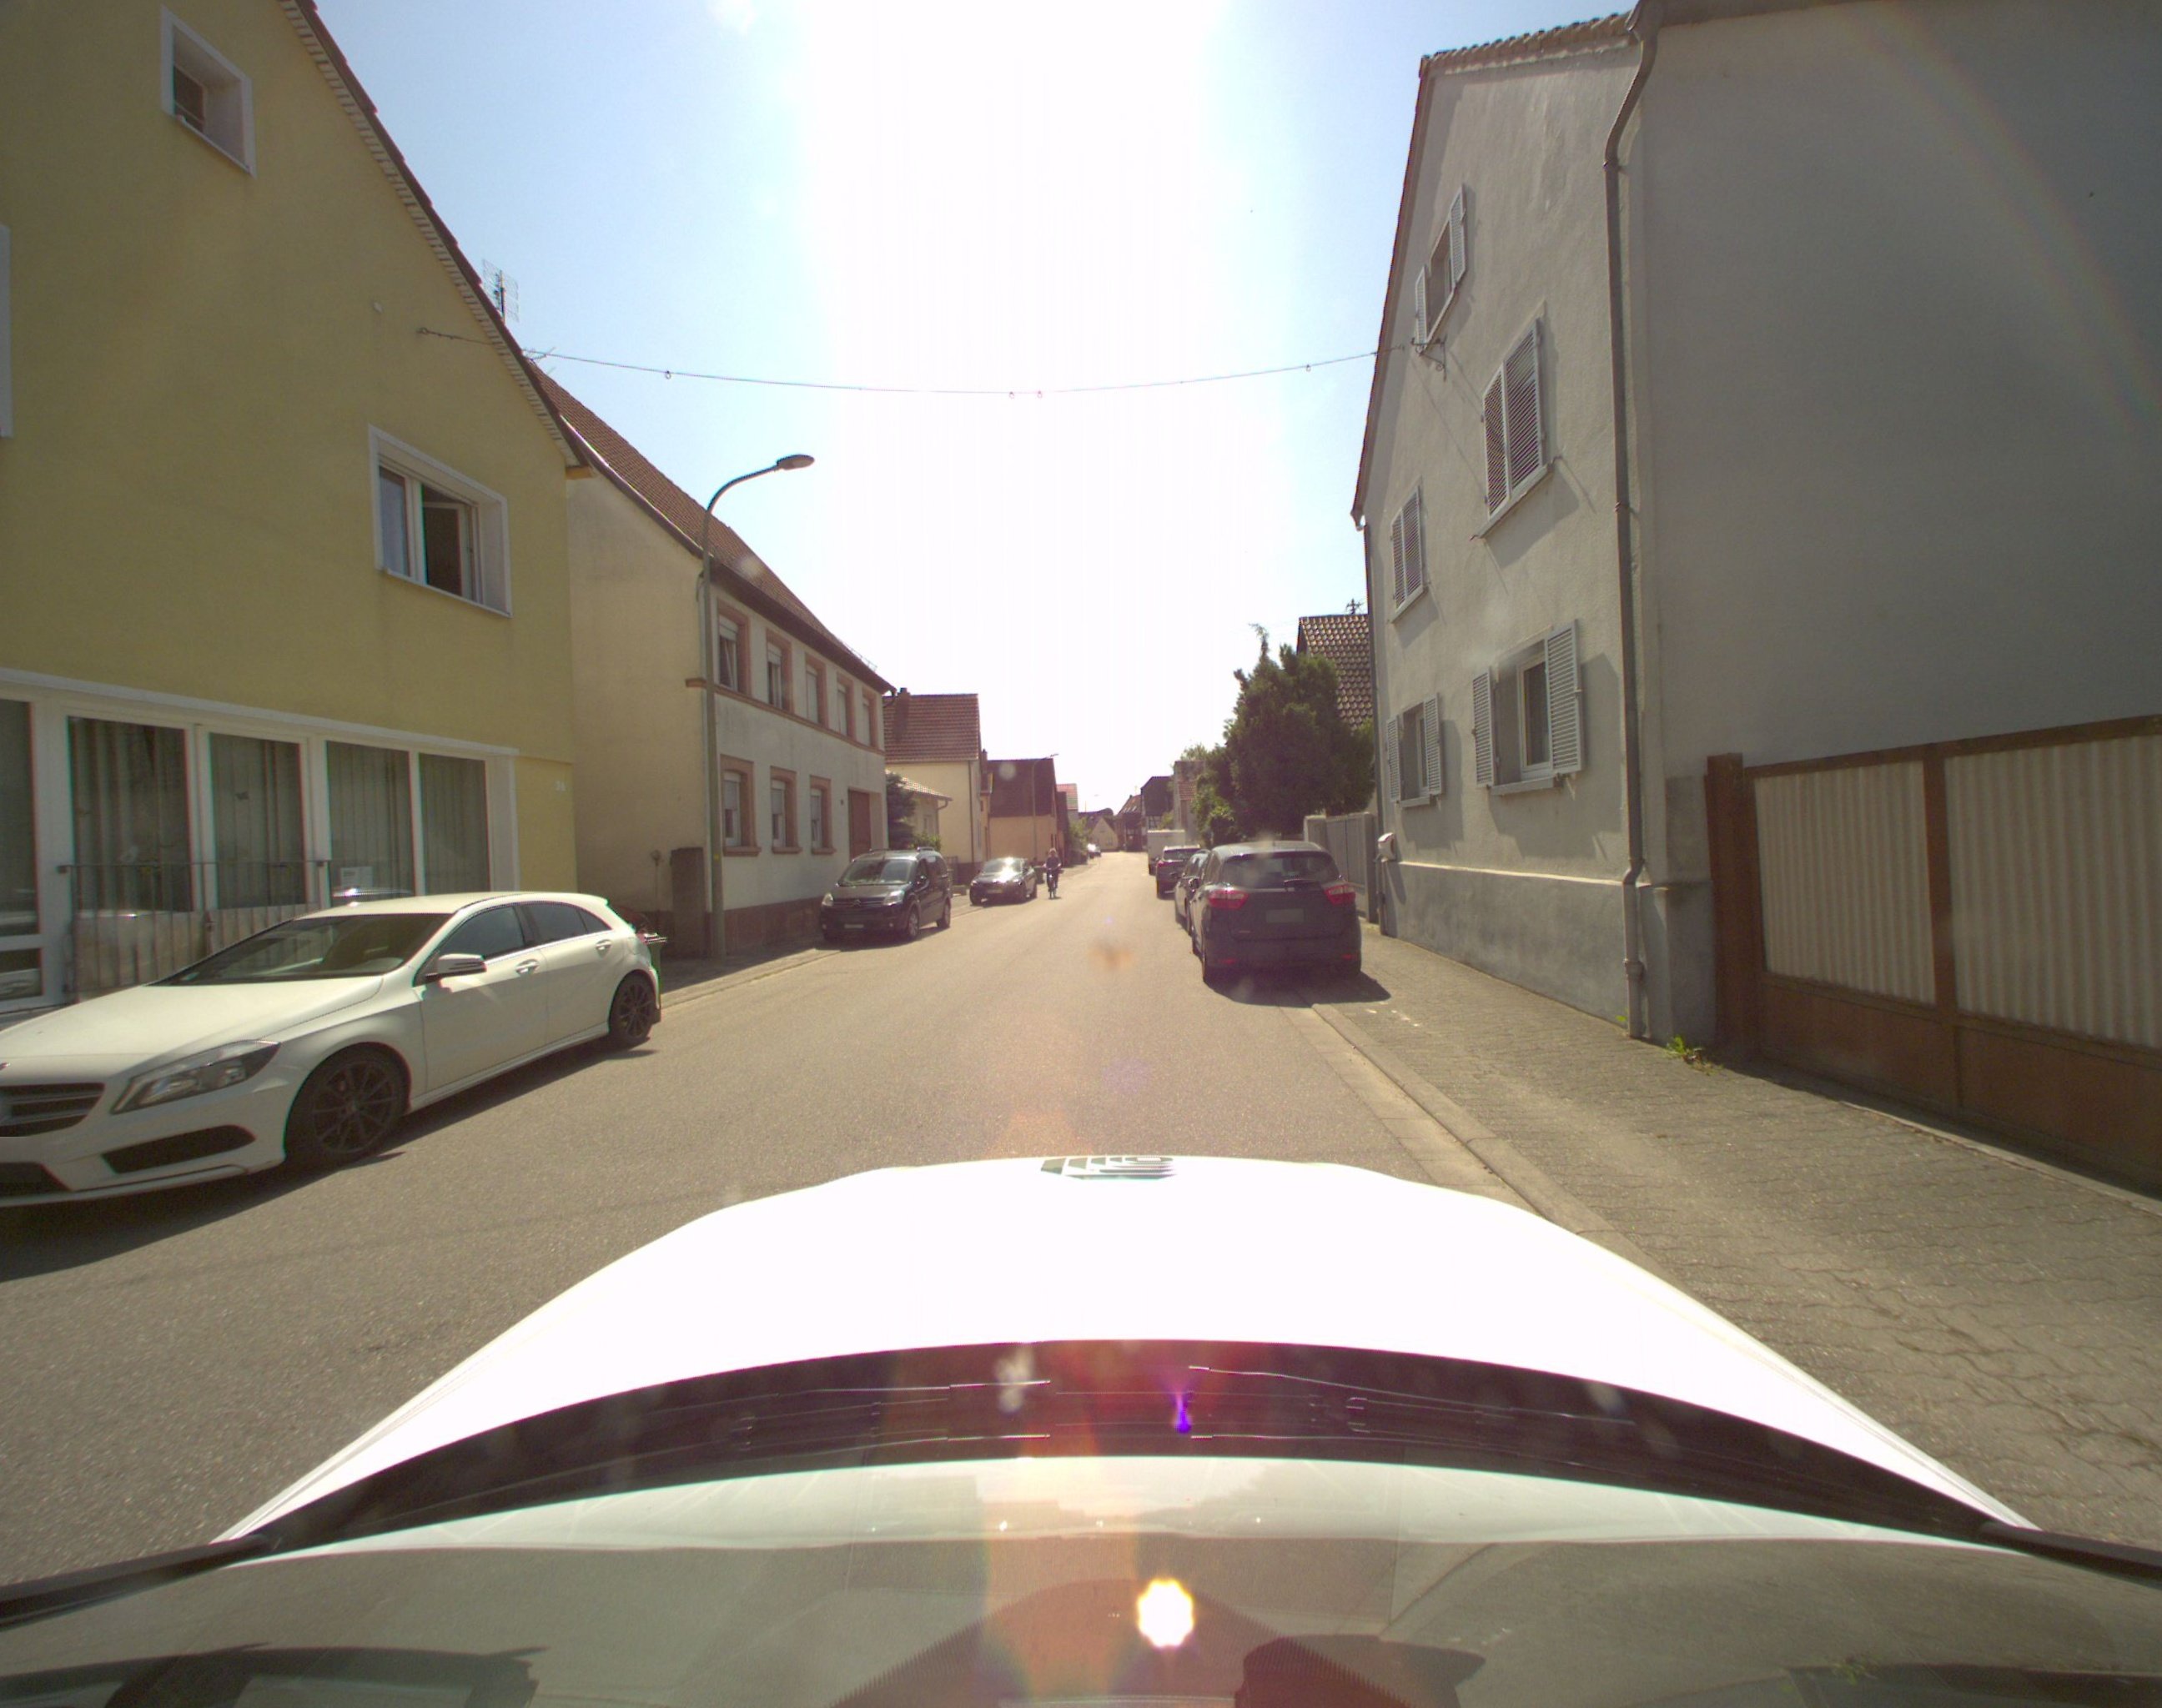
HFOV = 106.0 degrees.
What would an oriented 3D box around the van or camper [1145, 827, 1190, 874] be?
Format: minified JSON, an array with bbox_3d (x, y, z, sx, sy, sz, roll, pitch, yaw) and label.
[{"bbox_3d":[5.387,-0.200,51.280,2.511,2.696,4.559,-3,0,3],"label":"van or camper"}]

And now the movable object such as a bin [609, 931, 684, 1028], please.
[{"bbox_3d":[-4.446,1.265,8.346,0.421,0.905,0.499,-2,0,22],"label":"movable object such as a bin"}]

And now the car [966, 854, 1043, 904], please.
[{"bbox_3d":[-2.633,0.817,29.034,1.835,1.526,4.772,-2,0,5],"label":"car"}]

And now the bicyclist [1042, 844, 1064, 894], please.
[{"bbox_3d":[-1.000,0.541,29.622,0.701,1.771,0.625,-2,0,0],"label":"bicyclist"}]

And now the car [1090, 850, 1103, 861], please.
[{"bbox_3d":[2.207,0.218,114.475,1.505,1.436,3.515,-3,0,4],"label":"car"}]

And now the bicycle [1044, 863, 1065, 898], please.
[{"bbox_3d":[-0.949,0.946,29.520,0.587,1.148,1.949,-3,0,1],"label":"bicycle"}]

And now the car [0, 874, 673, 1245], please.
[{"bbox_3d":[-4.923,0.985,5.710,1.828,1.464,4.271,-3,0,1],"label":"car"}]

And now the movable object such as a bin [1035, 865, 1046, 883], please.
[{"bbox_3d":[-2.199,1.101,44.028,0.536,0.949,0.554,-1,0,4],"label":"movable object such as a bin"}]

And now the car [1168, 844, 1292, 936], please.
[{"bbox_3d":[2.803,0.607,16.262,1.812,1.508,4.585,-3,0,3],"label":"car"}]

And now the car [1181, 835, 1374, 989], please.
[{"bbox_3d":[2.365,0.610,10.953,1.789,1.560,4.638,-3,0,5],"label":"car"}]

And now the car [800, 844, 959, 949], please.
[{"bbox_3d":[-4.051,0.771,17.175,1.826,1.837,4.360,-3,0,5],"label":"car"}]

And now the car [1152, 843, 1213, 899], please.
[{"bbox_3d":[3.436,0.497,27.345,1.784,1.631,4.370,-3,1,8],"label":"car"}]
